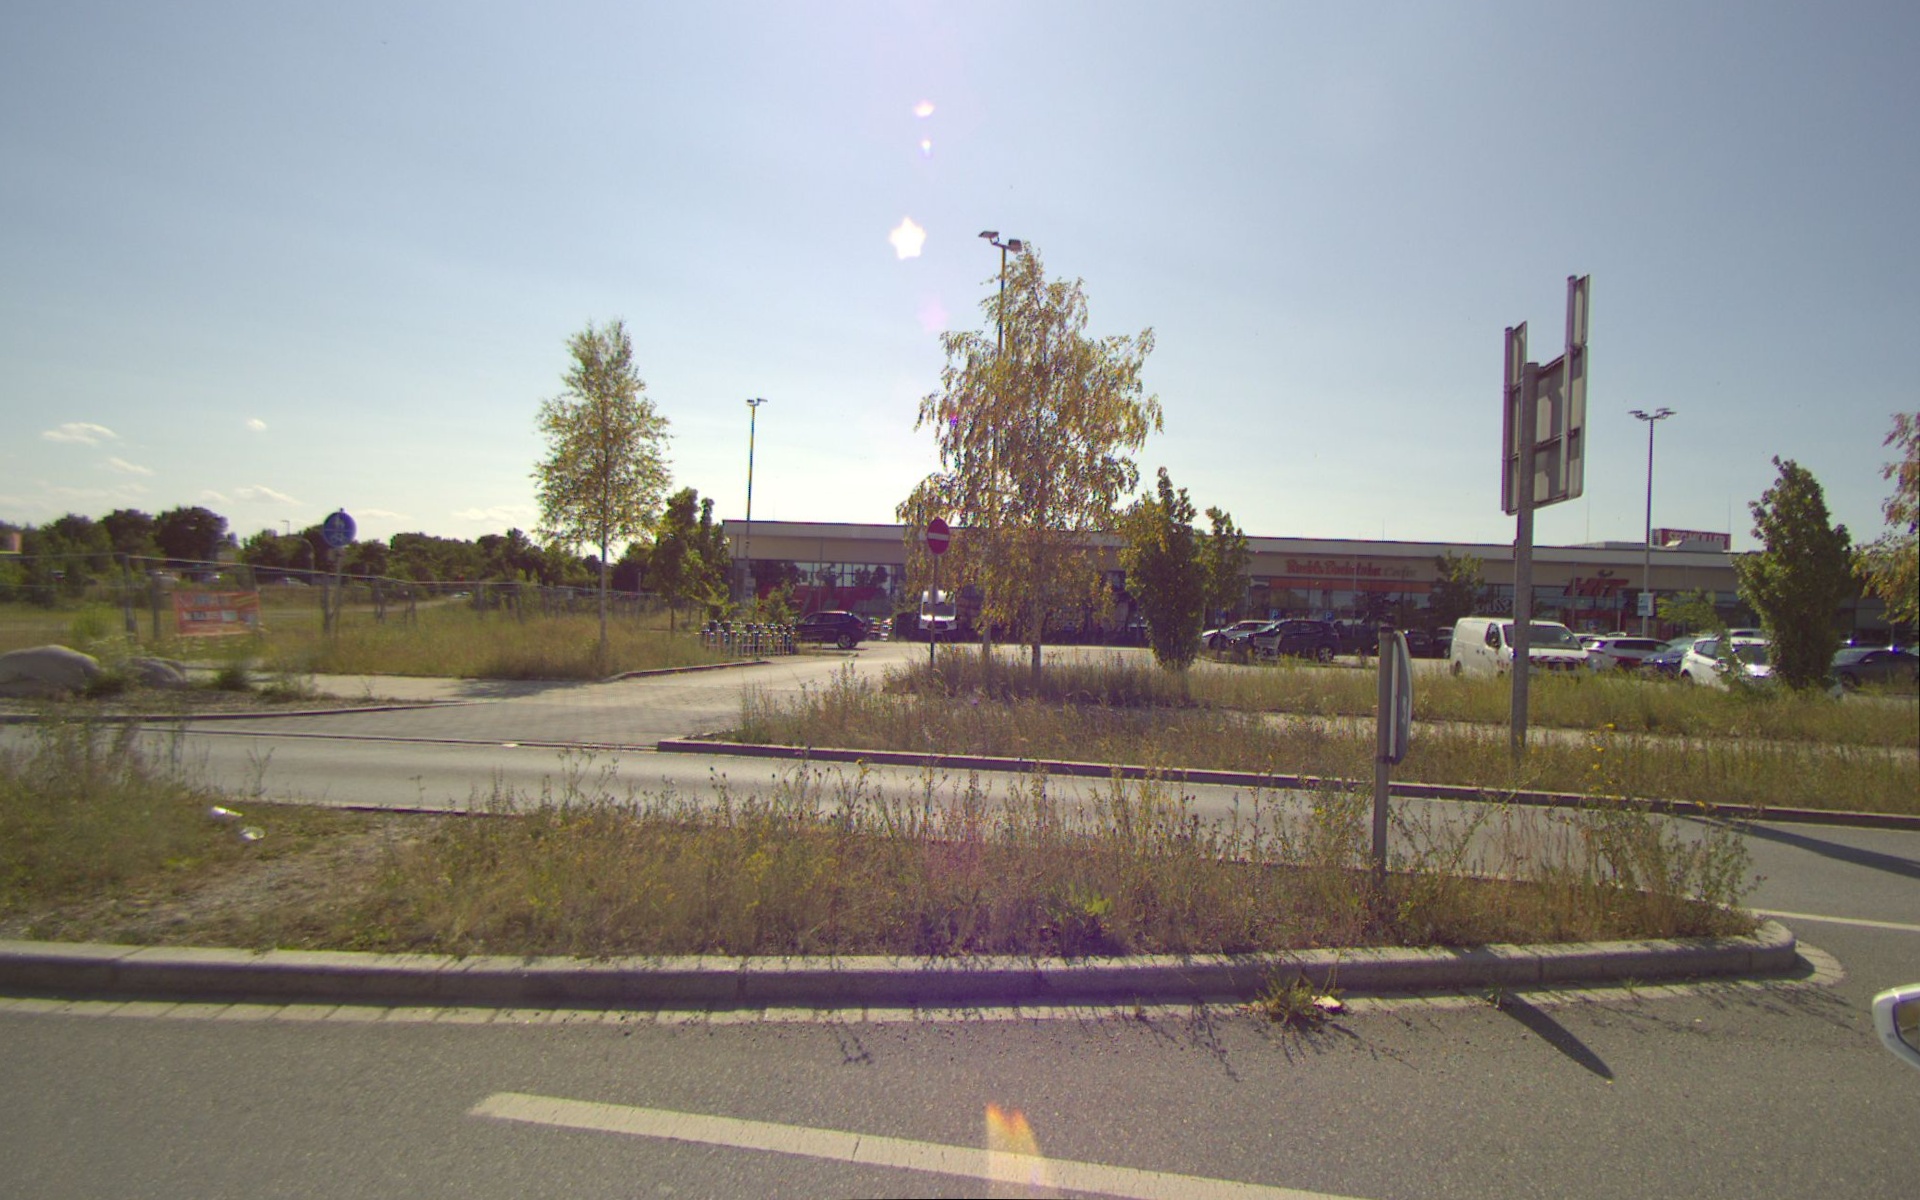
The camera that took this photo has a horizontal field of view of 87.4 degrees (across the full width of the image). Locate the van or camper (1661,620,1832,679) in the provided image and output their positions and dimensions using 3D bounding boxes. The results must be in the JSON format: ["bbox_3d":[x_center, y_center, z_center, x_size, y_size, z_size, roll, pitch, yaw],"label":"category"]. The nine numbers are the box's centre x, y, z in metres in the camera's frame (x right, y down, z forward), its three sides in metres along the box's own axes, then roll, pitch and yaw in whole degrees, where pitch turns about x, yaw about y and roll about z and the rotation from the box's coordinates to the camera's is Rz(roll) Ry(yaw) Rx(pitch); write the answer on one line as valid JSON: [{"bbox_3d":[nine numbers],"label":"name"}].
[{"bbox_3d":[30.740,1.907,39.391,4.950,2.040,2.001,2,0,5],"label":"van or camper"}]

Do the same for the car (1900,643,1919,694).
[{"bbox_3d":[42.407,2.956,41.835,4.393,2.130,2.001,2,-1,7],"label":"car"}]

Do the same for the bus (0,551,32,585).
[{"bbox_3d":[-81.319,-2.771,81.439,2.533,2.771,11.555,2,0,-7],"label":"bus"}]

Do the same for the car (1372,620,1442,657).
[{"bbox_3d":[23.349,1.993,52.675,1.960,1.730,4.001,2,0,2],"label":"car"}]

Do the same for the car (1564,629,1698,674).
[{"bbox_3d":[24.182,1.842,36.293,3.658,1.409,1.732,2,0,0],"label":"car"}]

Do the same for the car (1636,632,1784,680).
[{"bbox_3d":[25.022,1.865,33.603,3.658,1.409,1.732,2,0,0],"label":"car"}]

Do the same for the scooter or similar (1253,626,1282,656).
[{"bbox_3d":[11.688,1.553,38.194,0.927,1.094,0.653,2,0,7],"label":"scooter or similar"}]

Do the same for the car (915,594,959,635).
[{"bbox_3d":[-1.229,0.774,54.381,2.186,2.003,6.696,2,-1,-1],"label":"car"}]

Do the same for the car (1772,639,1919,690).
[{"bbox_3d":[30.262,2.172,33.981,3.919,1.528,1.876,2,-1,4],"label":"car"}]

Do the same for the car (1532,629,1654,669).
[{"bbox_3d":[24.703,1.901,39.298,3.658,1.409,1.732,2,0,0],"label":"car"}]

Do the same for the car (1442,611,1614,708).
[{"bbox_3d":[13.710,1.332,24.671,2.045,2.040,5.232,2,0,11],"label":"car"}]

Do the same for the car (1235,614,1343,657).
[{"bbox_3d":[12.975,1.376,39.788,3.730,1.528,1.732,2,0,3],"label":"car"}]

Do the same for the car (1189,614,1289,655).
[{"bbox_3d":[13.424,1.646,48.541,4.395,1.728,1.876,2,-1,6],"label":"car"}]

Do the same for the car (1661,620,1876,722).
[{"bbox_3d":[18.735,1.528,23.641,2.121,2.040,5.118,2,0,17],"label":"car"}]

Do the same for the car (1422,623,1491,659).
[{"bbox_3d":[25.998,2.107,52.781,1.959,1.730,4.002,2,0,6],"label":"car"}]

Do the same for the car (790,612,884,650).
[{"bbox_3d":[-5.214,1.326,42.943,3.769,1.442,1.772,2,-1,-1],"label":"car"}]
